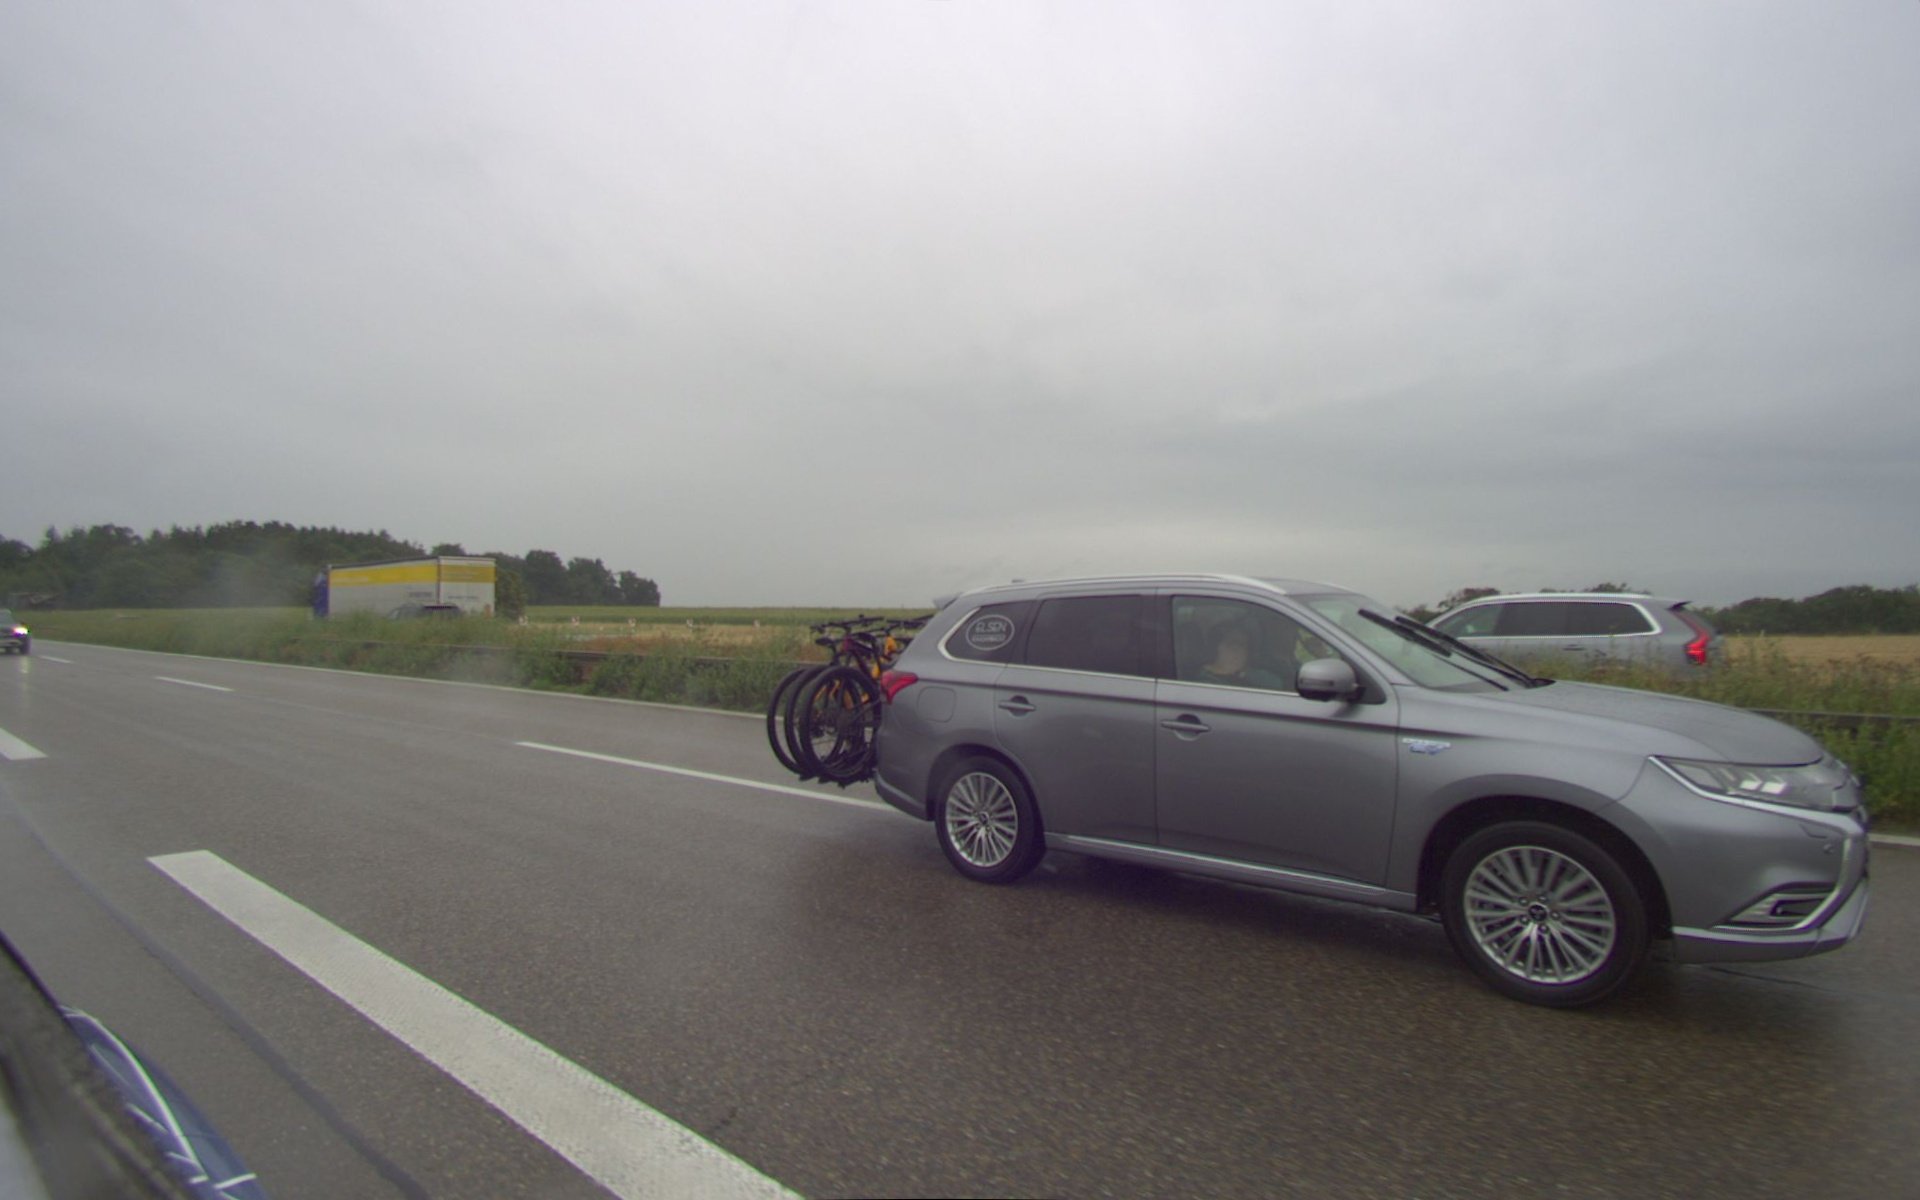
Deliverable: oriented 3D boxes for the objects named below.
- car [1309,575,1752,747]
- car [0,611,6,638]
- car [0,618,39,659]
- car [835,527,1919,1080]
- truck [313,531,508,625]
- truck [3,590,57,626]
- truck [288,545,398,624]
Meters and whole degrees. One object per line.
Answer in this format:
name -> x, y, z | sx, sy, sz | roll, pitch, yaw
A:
car -> 7.442, 0.721, 13.496 | 4.865, 1.890, 2.084 | -1, -2, 39
car -> -60.453, 1.498, 62.236 | 4.593, 1.648, 2.123 | -1, -2, 41
car -> -36.427, 1.406, 38.072 | 4.593, 1.465, 2.072 | -1, -2, 41
car -> 1.808, 0.633, 5.073 | 5.096, 1.646, 1.844 | -1, -1, 39
truck -> -27.037, -0.892, 49.083 | 15.311, 3.996, 3.161 | -1, 1, 41
truck -> -110.734, 0.930, 120.391 | 13.807, 3.996, 3.161 | -1, 1, 41
truck -> -33.373, -0.812, 54.671 | 6.660, 3.996, 3.161 | -1, 1, 41
